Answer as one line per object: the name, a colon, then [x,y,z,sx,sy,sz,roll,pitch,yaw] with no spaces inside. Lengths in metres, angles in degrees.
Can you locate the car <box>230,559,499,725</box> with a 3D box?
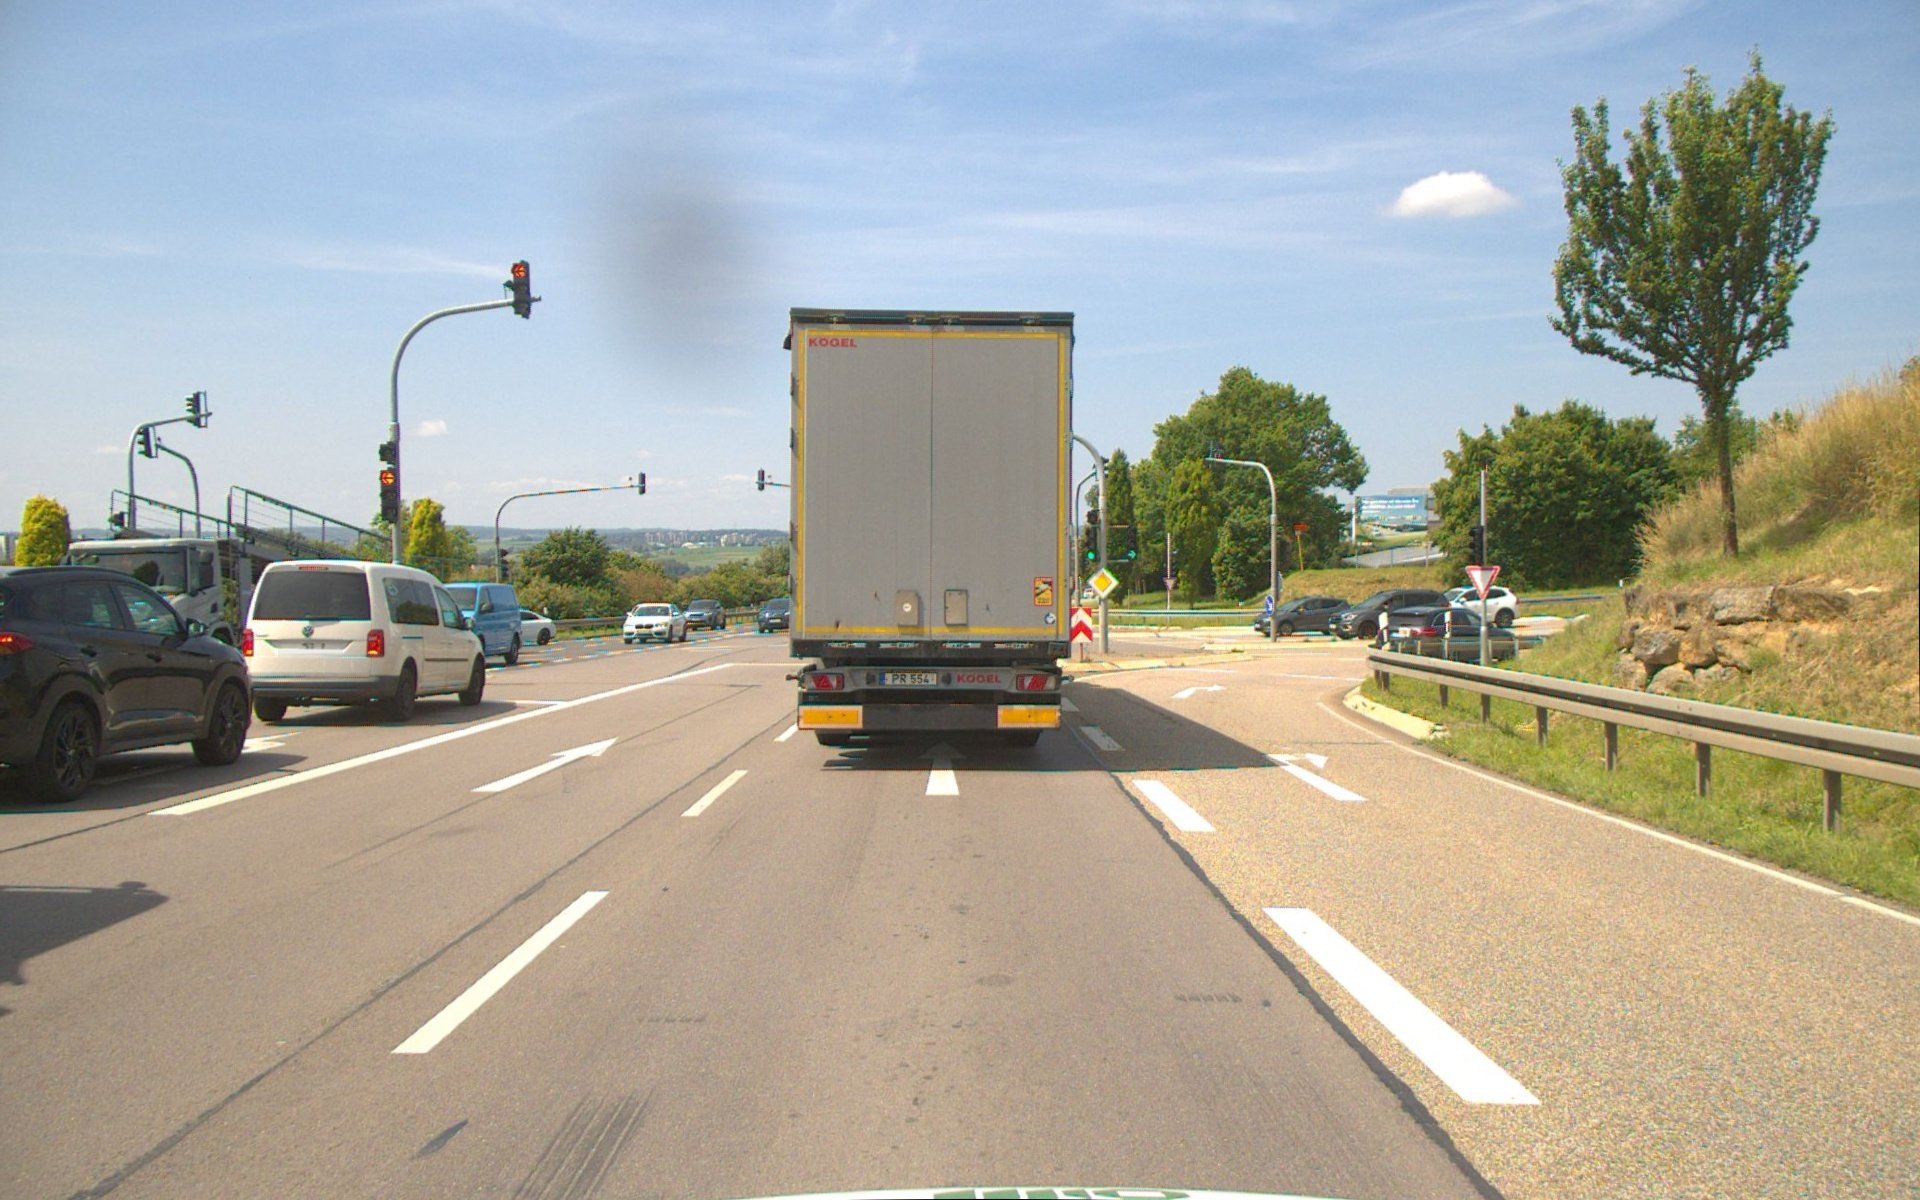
car: [-7.300,0.472,20.821,1.732,1.830,4.751,1,0,-1]

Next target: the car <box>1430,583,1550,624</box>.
car: [21.209,0.135,66.254,4.278,1.620,1.776,0,-1,-10]

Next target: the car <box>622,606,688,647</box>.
car: [-11.457,0.987,62.321,1.736,1.459,3.999,-1,-1,-1]

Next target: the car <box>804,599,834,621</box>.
car: [-10.069,0.697,118.068,1.610,1.523,4.067,-2,0,2]

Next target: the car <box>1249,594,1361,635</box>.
car: [13.367,0.564,64.246,3.914,1.537,1.712,0,-1,-10]

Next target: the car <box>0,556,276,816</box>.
car: [-7.118,0.547,12.880,1.818,1.686,4.347,1,0,-1]

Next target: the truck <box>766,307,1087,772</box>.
truck: [-0.480,-0.511,20.027,2.743,3.998,11.336,1,0,-2]

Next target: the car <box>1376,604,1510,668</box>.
car: [12.351,0.903,42.161,1.719,1.559,4.275,0,-1,40]

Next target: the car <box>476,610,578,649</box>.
car: [-17.091,1.145,65.531,1.594,1.485,4.494,0,-1,21]

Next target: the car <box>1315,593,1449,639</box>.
car: [14.803,0.555,58.102,4.282,1.537,1.711,0,-1,-13]

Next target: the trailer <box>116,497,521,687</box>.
trailer: [-15.607,-0.064,43.351,2.584,3.829,19.800,-1,-1,1]

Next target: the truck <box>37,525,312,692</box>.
truck: [-15.757,0.186,33.699,2.742,3.066,5.989,-1,-1,0]

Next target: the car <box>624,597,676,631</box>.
car: [-14.527,0.653,77.639,1.610,1.523,3.802,-2,-1,2]

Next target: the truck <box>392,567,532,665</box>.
truck: [-11.798,0.383,39.511,1.926,2.195,4.623,-1,-1,0]

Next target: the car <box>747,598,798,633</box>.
car: [-8.469,0.713,75.146,1.719,1.494,4.196,2,-1,1]

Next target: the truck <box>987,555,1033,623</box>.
truck: [3.014,-0.592,99.371,2.600,3.830,10.163,1,-1,2]

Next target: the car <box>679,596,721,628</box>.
car: [-14.286,0.692,91.022,1.610,1.652,4.327,-2,-1,0]
